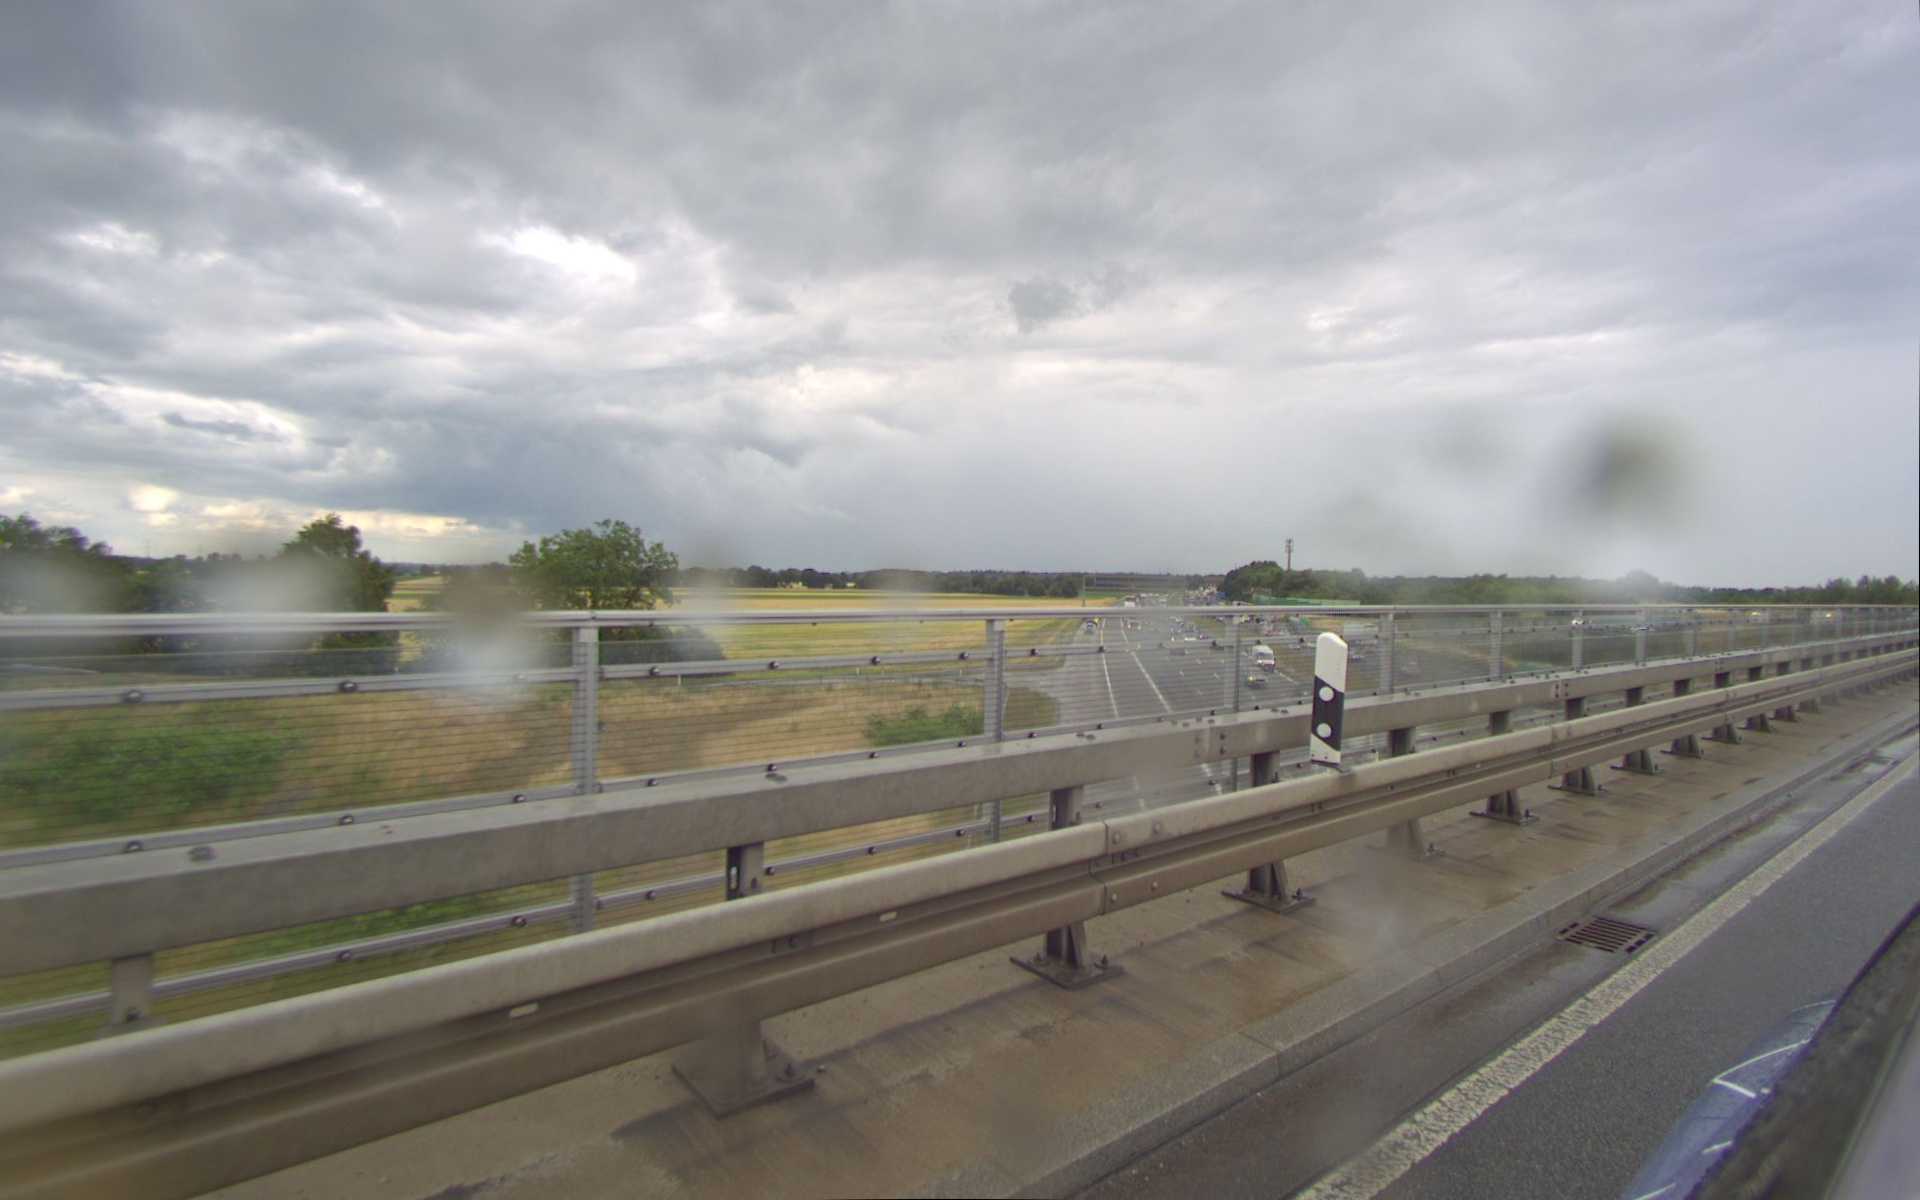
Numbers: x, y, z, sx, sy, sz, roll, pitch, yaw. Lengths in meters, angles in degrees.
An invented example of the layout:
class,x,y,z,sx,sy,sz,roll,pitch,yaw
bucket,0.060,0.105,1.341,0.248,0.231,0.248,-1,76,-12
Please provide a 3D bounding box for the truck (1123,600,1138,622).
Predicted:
class,x,y,z,sx,sy,sz,roll,pitch,yaw
truck,39.039,2.476,231.254,2.751,4.676,12.709,0,0,12

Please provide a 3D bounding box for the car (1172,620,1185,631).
class,x,y,z,sx,sy,sz,roll,pitch,yaw
car,38.526,4.501,178.533,1.826,1.690,4.712,0,0,9

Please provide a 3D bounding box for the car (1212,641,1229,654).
class,x,y,z,sx,sy,sz,roll,pitch,yaw
car,36.368,6.628,141.434,1.826,1.690,4.712,0,0,9

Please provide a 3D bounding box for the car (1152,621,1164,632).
class,x,y,z,sx,sy,sz,roll,pitch,yaw
car,34.575,4.580,176.682,1.826,1.690,4.712,0,0,9

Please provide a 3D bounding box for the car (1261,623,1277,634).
class,x,y,z,sx,sy,sz,roll,pitch,yaw
car,50.857,4.671,166.554,1.826,1.690,4.712,0,0,9

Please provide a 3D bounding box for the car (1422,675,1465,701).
class,x,y,z,sx,sy,sz,roll,pitch,yaw
car,39.738,7.226,83.264,1.826,1.690,4.712,0,0,9

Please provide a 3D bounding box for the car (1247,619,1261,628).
class,x,y,z,sx,sy,sz,roll,pitch,yaw
car,54.034,4.309,185.935,1.826,1.690,4.712,0,0,9

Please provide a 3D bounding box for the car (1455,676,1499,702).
class,x,y,z,sx,sy,sz,roll,pitch,yaw
car,42.895,7.380,84.079,1.826,1.690,4.712,0,0,9

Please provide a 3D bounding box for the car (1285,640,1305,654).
class,x,y,z,sx,sy,sz,roll,pitch,yaw
car,46.951,6.533,141.788,1.826,1.690,4.712,0,0,9

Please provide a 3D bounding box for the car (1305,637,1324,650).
class,x,y,z,sx,sy,sz,roll,pitch,yaw
car,52.156,6.413,148.855,1.826,1.690,4.712,0,0,9

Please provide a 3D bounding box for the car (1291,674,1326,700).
class,x,y,z,sx,sy,sz,roll,pitch,yaw
car,28.339,7.064,82.357,1.784,1.690,4.713,0,0,8

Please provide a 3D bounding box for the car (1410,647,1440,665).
class,x,y,z,sx,sy,sz,roll,pitch,yaw
car,52.528,6.296,114.392,1.826,1.690,4.712,0,0,9

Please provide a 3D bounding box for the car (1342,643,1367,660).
class,x,y,z,sx,sy,sz,roll,pitch,yaw
car,48.003,6.253,123.245,1.826,1.690,4.712,0,0,9

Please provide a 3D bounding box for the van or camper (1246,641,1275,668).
class,x,y,z,sx,sy,sz,roll,pitch,yaw
van or camper,32.997,5.955,111.312,2.026,2.481,7.311,0,0,9

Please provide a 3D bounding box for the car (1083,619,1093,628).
class,x,y,z,sx,sy,sz,roll,pitch,yaw
car,21.664,3.924,171.223,1.784,1.454,4.714,0,0,8

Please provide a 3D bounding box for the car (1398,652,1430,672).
class,x,y,z,sx,sy,sz,roll,pitch,yaw
car,46.274,6.312,103.254,1.826,1.690,4.712,0,0,9

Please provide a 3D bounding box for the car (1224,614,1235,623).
class,x,y,z,sx,sy,sz,roll,pitch,yaw
car,57.170,3.882,214.933,1.826,1.797,4.712,0,0,9

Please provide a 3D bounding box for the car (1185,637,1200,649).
class,x,y,z,sx,sy,sz,roll,pitch,yaw
car,34.799,6.413,151.244,1.826,1.690,4.712,0,0,9

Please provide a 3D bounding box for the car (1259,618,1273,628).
class,x,y,z,sx,sy,sz,roll,pitch,yaw
car,59.034,4.339,195.213,1.826,1.797,4.712,0,0,9

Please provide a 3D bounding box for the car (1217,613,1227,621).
class,x,y,z,sx,sy,sz,roll,pitch,yaw
car,61.832,3.934,239.036,1.826,1.797,4.712,0,0,9

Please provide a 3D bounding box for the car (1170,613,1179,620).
class,x,y,z,sx,sy,sz,roll,pitch,yaw
car,51.539,3.960,242.916,1.826,1.690,4.712,0,0,9

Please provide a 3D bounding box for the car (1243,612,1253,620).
class,x,y,z,sx,sy,sz,roll,pitch,yaw
car,70.724,3.952,248.679,1.826,1.797,4.712,0,0,9

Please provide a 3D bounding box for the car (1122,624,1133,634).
class,x,y,z,sx,sy,sz,roll,pitch,yaw
car,28.175,4.858,170.359,1.784,1.454,4.714,0,0,8

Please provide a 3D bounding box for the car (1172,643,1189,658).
class,x,y,z,sx,sy,sz,roll,pitch,yaw
car,28.139,6.417,129.070,1.826,1.690,4.712,0,0,9

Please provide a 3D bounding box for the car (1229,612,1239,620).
class,x,y,z,sx,sy,sz,roll,pitch,yaw
car,68.002,3.961,251.017,1.826,1.797,4.712,0,0,9

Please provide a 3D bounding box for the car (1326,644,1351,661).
class,x,y,z,sx,sy,sz,roll,pitch,yaw
car,43.511,6.053,116.435,1.826,1.690,4.712,0,0,9

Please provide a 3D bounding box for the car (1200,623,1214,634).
class,x,y,z,sx,sy,sz,roll,pitch,yaw
car,40.683,4.680,166.776,1.826,1.690,4.712,0,0,9

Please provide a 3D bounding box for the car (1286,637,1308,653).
class,x,y,z,sx,sy,sz,roll,pitch,yaw
car,40.861,5.412,122.827,1.826,1.690,4.712,0,0,9

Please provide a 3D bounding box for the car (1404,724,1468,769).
class,x,y,z,sx,sy,sz,roll,pitch,yaw
car,25.335,7.762,54.041,1.784,1.690,4.713,0,0,8

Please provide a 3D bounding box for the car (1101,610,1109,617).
class,x,y,z,sx,sy,sz,roll,pitch,yaw
car,34.508,3.161,240.276,1.784,1.454,4.714,0,0,8

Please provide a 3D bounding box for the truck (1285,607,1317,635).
class,x,y,z,sx,sy,sz,roll,pitch,yaw
truck,67.891,4.150,202.045,3.241,5.230,15.593,0,0,8

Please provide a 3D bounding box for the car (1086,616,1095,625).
class,x,y,z,sx,sy,sz,roll,pitch,yaw
car,26.821,4.194,208.196,1.826,1.690,4.712,0,0,9

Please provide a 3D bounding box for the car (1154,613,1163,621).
class,x,y,z,sx,sy,sz,roll,pitch,yaw
car,47.016,3.984,239.925,1.826,1.690,4.712,0,0,9

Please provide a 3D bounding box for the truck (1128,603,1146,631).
class,x,y,z,sx,sy,sz,roll,pitch,yaw
truck,32.979,3.000,188.536,2.751,4.962,12.709,0,0,12

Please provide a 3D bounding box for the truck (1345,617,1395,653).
class,x,y,z,sx,sy,sz,roll,pitch,yaw
truck,60.323,5.032,149.452,3.545,4.595,15.586,0,0,9

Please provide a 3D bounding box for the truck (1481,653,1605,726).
class,x,y,z,sx,sy,sz,roll,pitch,yaw
truck,47.614,7.087,83.529,3.545,4.595,15.586,0,0,9

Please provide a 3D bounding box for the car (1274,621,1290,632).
class,x,y,z,sx,sy,sz,roll,pitch,yaw
car,55.092,4.488,173.343,1.826,1.690,4.712,0,0,9

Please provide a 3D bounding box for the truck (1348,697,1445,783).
class,x,y,z,sx,sy,sz,roll,pitch,yaw
truck,22.344,7.039,52.303,2.553,3.220,8.374,0,0,9

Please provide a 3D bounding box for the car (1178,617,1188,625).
class,x,y,z,sx,sy,sz,roll,pitch,yaw
car,50.630,4.656,229.620,1.826,1.690,4.712,0,0,9

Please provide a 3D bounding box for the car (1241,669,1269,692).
class,x,y,z,sx,sy,sz,roll,pitch,yaw
car,26.492,7.189,90.982,1.784,1.690,4.713,0,0,8

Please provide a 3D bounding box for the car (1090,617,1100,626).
class,x,y,z,sx,sy,sz,roll,pitch,yaw
car,25.784,4.062,192.690,1.826,1.690,4.712,0,0,9

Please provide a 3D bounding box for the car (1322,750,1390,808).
class,x,y,z,sx,sy,sz,roll,pitch,yaw
car,17.512,7.893,44.999,1.784,1.690,4.713,0,0,8

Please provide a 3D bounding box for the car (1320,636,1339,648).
class,x,y,z,sx,sy,sz,roll,pitch,yaw
car,57.220,6.499,156.692,1.826,1.690,4.712,0,0,9

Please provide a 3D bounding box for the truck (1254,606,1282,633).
class,x,y,z,sx,sy,sz,roll,pitch,yaw
truck,65.455,4.078,215.655,3.241,5.511,15.593,0,0,8

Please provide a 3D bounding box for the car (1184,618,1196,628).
class,x,y,z,sx,sy,sz,roll,pitch,yaw
car,43.750,4.398,192.561,1.826,1.690,4.712,0,0,9
